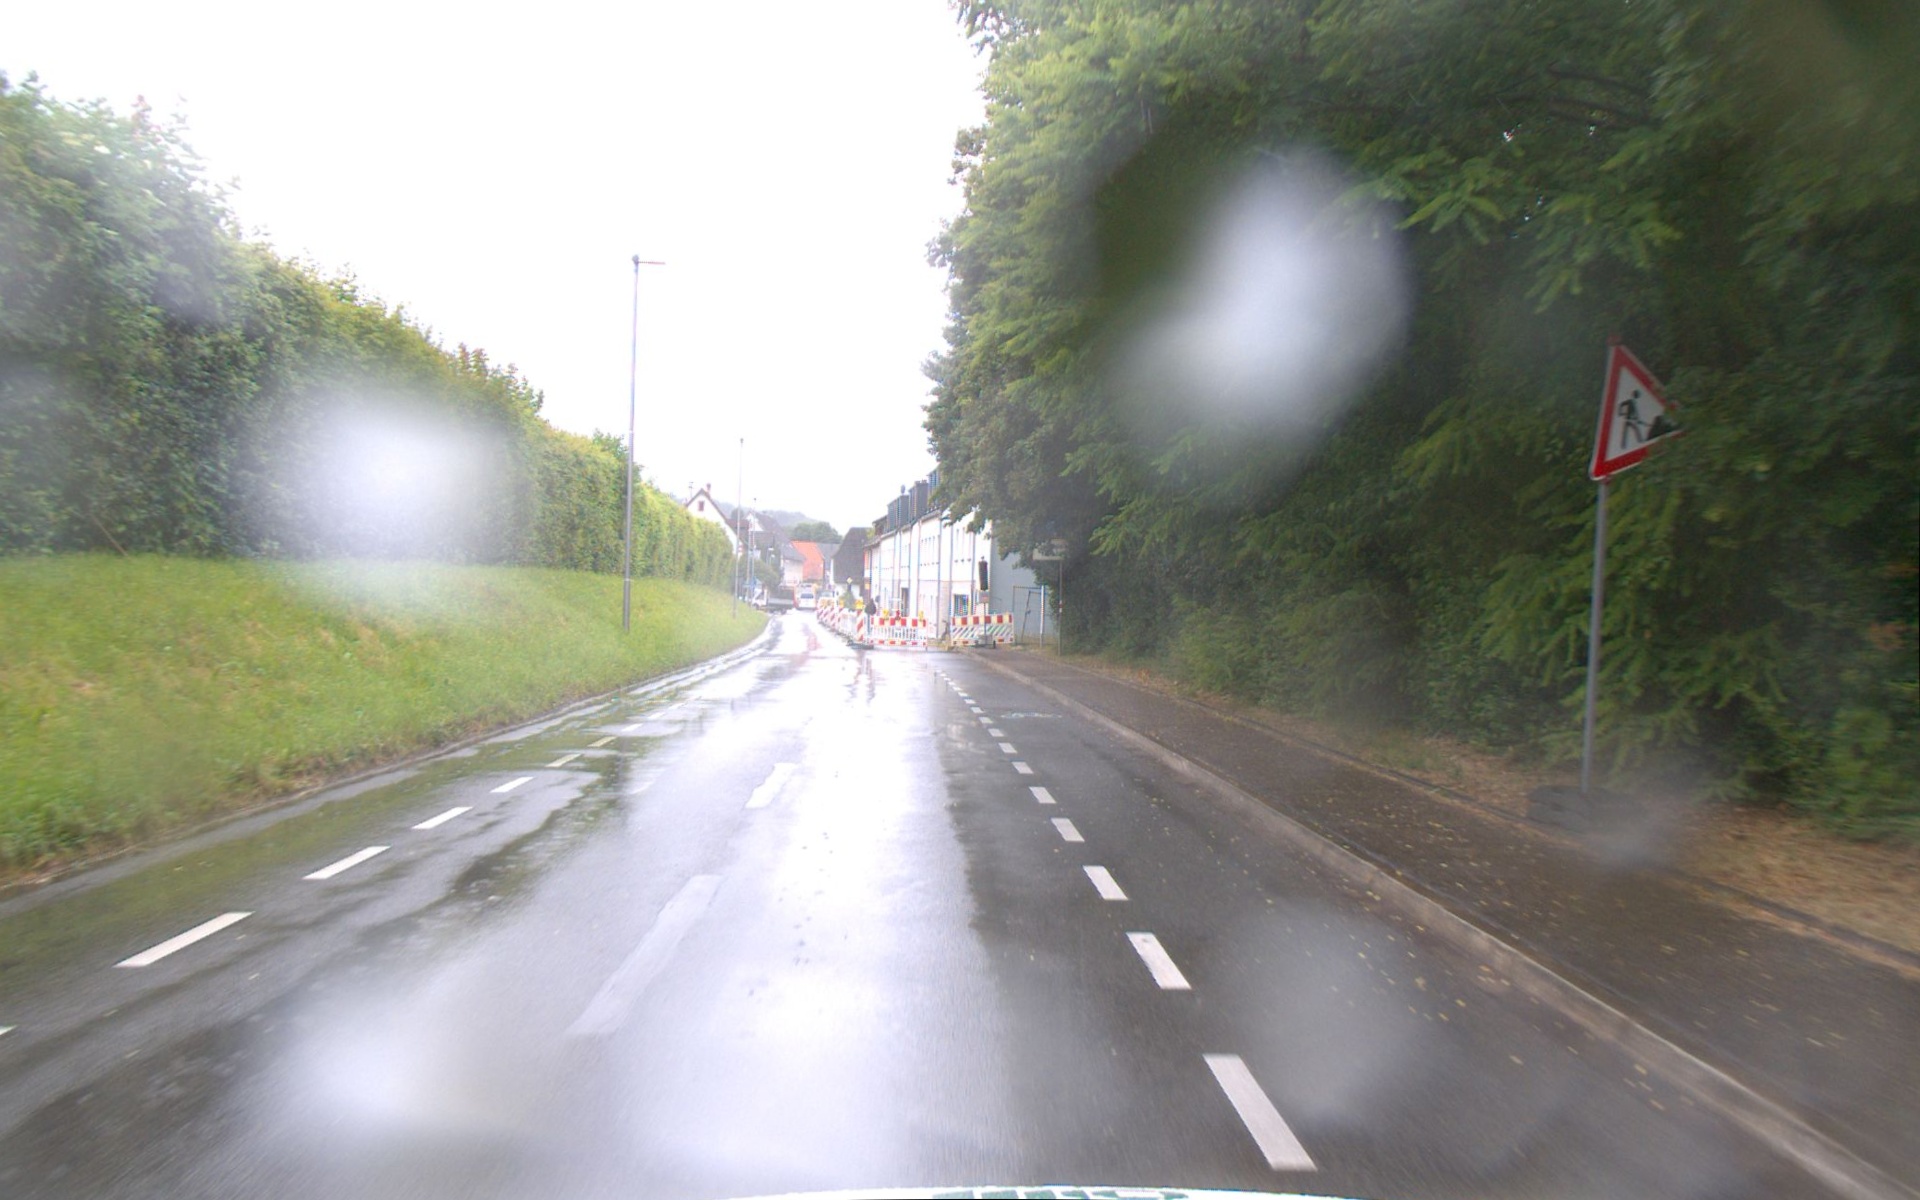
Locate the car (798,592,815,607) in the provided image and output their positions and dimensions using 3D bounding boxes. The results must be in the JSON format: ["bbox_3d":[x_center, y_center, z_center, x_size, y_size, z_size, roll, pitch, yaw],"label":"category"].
[{"bbox_3d":[-16.925,-0.067,181.956,1.783,1.670,4.090,-1,0,-6],"label":"car"}]

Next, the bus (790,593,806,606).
[{"bbox_3d":[-19.596,-0.094,200.062,1.759,1.434,3.997,3,-1,-4],"label":"bus"}]

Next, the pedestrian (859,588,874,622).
[{"bbox_3d":[-5.021,0.268,88.952,0.653,1.786,0.810,-1,0,-10],"label":"pedestrian"}]

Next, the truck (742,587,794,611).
[{"bbox_3d":[-18.404,-0.073,158.449,4.797,2.048,1.996,2,1,-9],"label":"truck"}]
